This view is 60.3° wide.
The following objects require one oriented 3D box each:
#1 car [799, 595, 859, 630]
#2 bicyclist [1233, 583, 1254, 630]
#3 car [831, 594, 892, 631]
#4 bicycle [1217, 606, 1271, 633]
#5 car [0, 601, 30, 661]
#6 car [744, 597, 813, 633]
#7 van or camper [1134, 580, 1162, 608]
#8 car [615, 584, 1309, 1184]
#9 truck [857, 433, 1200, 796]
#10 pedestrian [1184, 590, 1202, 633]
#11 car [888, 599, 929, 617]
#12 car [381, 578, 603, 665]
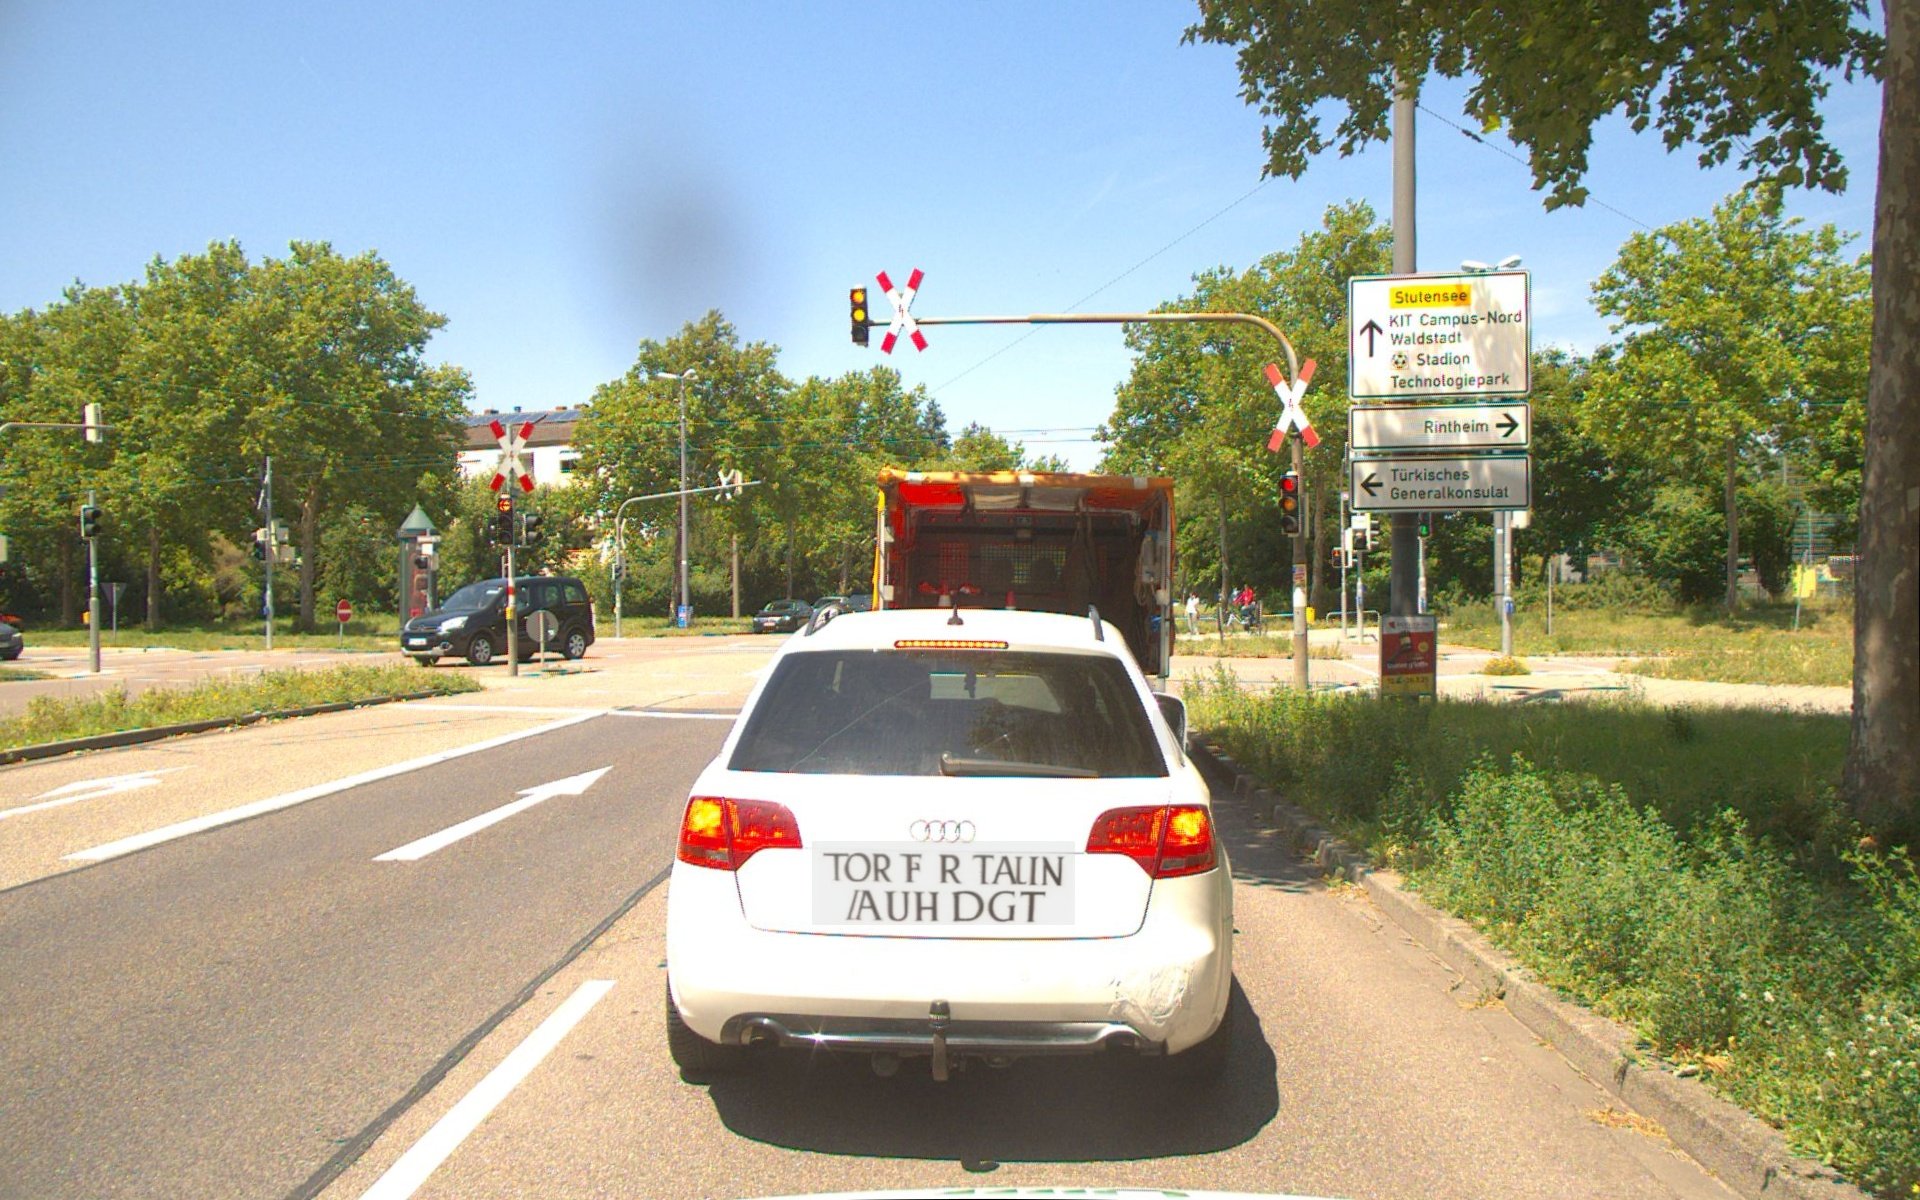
[{"bbox_3d":[-6.366,0.594,80.801,1.749,1.643,4.408,-1,0,11],"label":"car"},{"bbox_3d":[9.590,0.209,55.905,0.657,1.583,0.580,-1,0,7],"label":"bicyclist"},{"bbox_3d":[-4.382,0.523,74.042,1.868,1.566,4.302,-1,0,8],"label":"car"},{"bbox_3d":[9.593,0.654,55.902,1.767,0.911,0.589,-1,0,7],"label":"bicycle"},{"bbox_3d":[-25.479,0.793,41.816,3.907,1.483,1.760,0,0,32],"label":"car"},{"bbox_3d":[-7.995,0.631,73.283,1.907,1.465,4.750,0,1,8],"label":"car"},{"bbox_3d":[22.804,-0.702,200.340,2.604,3.389,5.505,0,0,14],"label":"van or camper"},{"bbox_3d":[0.102,0.693,5.941,1.725,1.470,3.617,0,0,3],"label":"car"},{"bbox_3d":[0.651,0.111,15.869,2.459,2.604,7.605,1,0,2],"label":"truck"},{"bbox_3d":[8.254,0.398,58.534,0.541,1.510,0.630,-1,0,16],"label":"pedestrian"},{"bbox_3d":[-4.331,0.659,139.129,1.844,1.417,3.997,0,0,26],"label":"car"},{"bbox_3d":[-9.765,0.403,34.872,1.876,1.708,4.434,-1,0,31],"label":"car"}]
